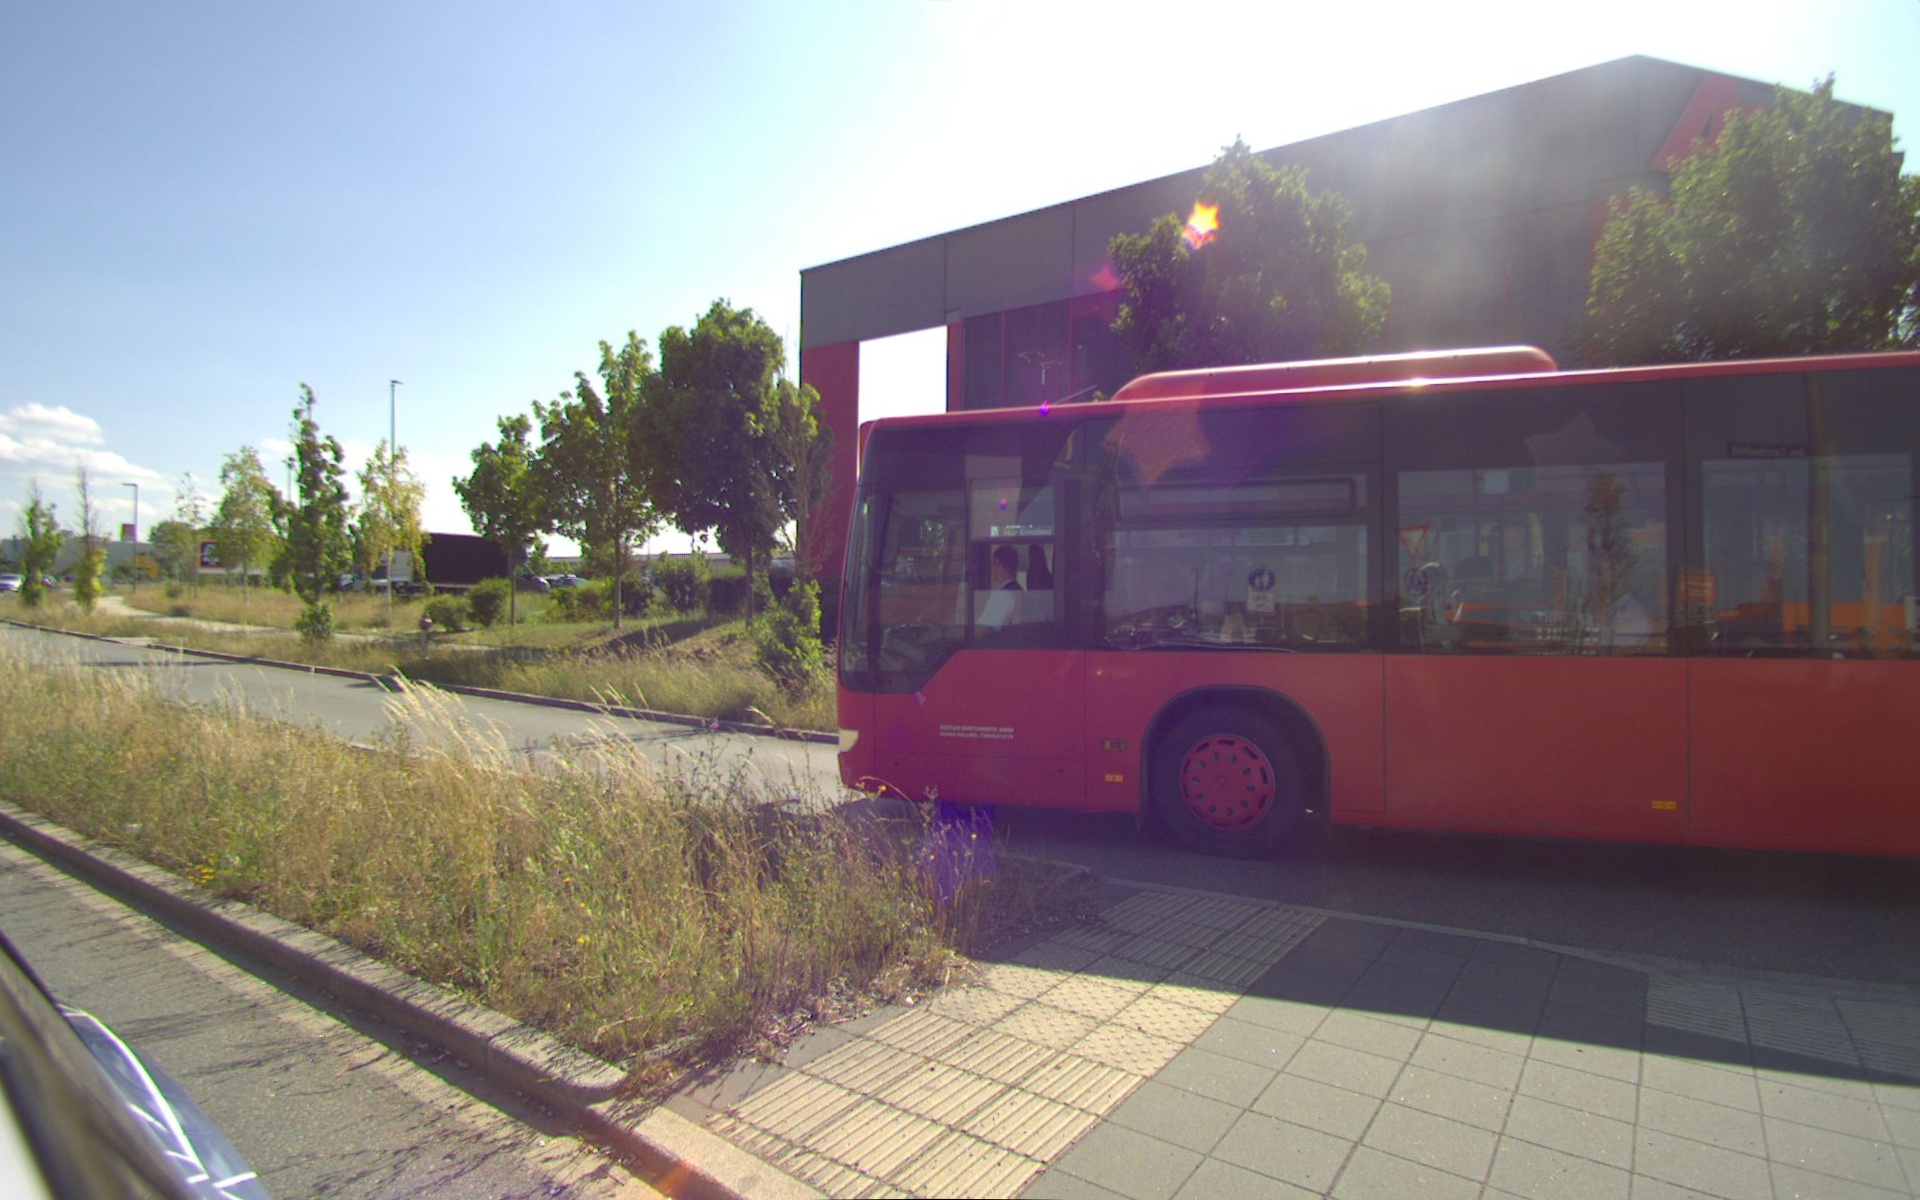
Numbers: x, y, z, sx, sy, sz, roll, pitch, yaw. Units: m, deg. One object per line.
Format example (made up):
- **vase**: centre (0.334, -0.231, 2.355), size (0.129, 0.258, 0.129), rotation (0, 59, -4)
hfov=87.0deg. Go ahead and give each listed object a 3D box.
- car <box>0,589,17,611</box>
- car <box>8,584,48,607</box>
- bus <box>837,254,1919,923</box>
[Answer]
- **car**: centre (-75.958, -0.032, 79.851), size (1.968, 1.696, 4.008), rotation (1, -1, -39)
- **car**: centre (-69.114, -0.324, 75.016), size (4.002, 1.630, 1.971), rotation (0, -1, 45)
- **bus**: centre (5.196, -0.022, 6.142), size (11.777, 3.266, 2.603), rotation (-1, -3, 17)
